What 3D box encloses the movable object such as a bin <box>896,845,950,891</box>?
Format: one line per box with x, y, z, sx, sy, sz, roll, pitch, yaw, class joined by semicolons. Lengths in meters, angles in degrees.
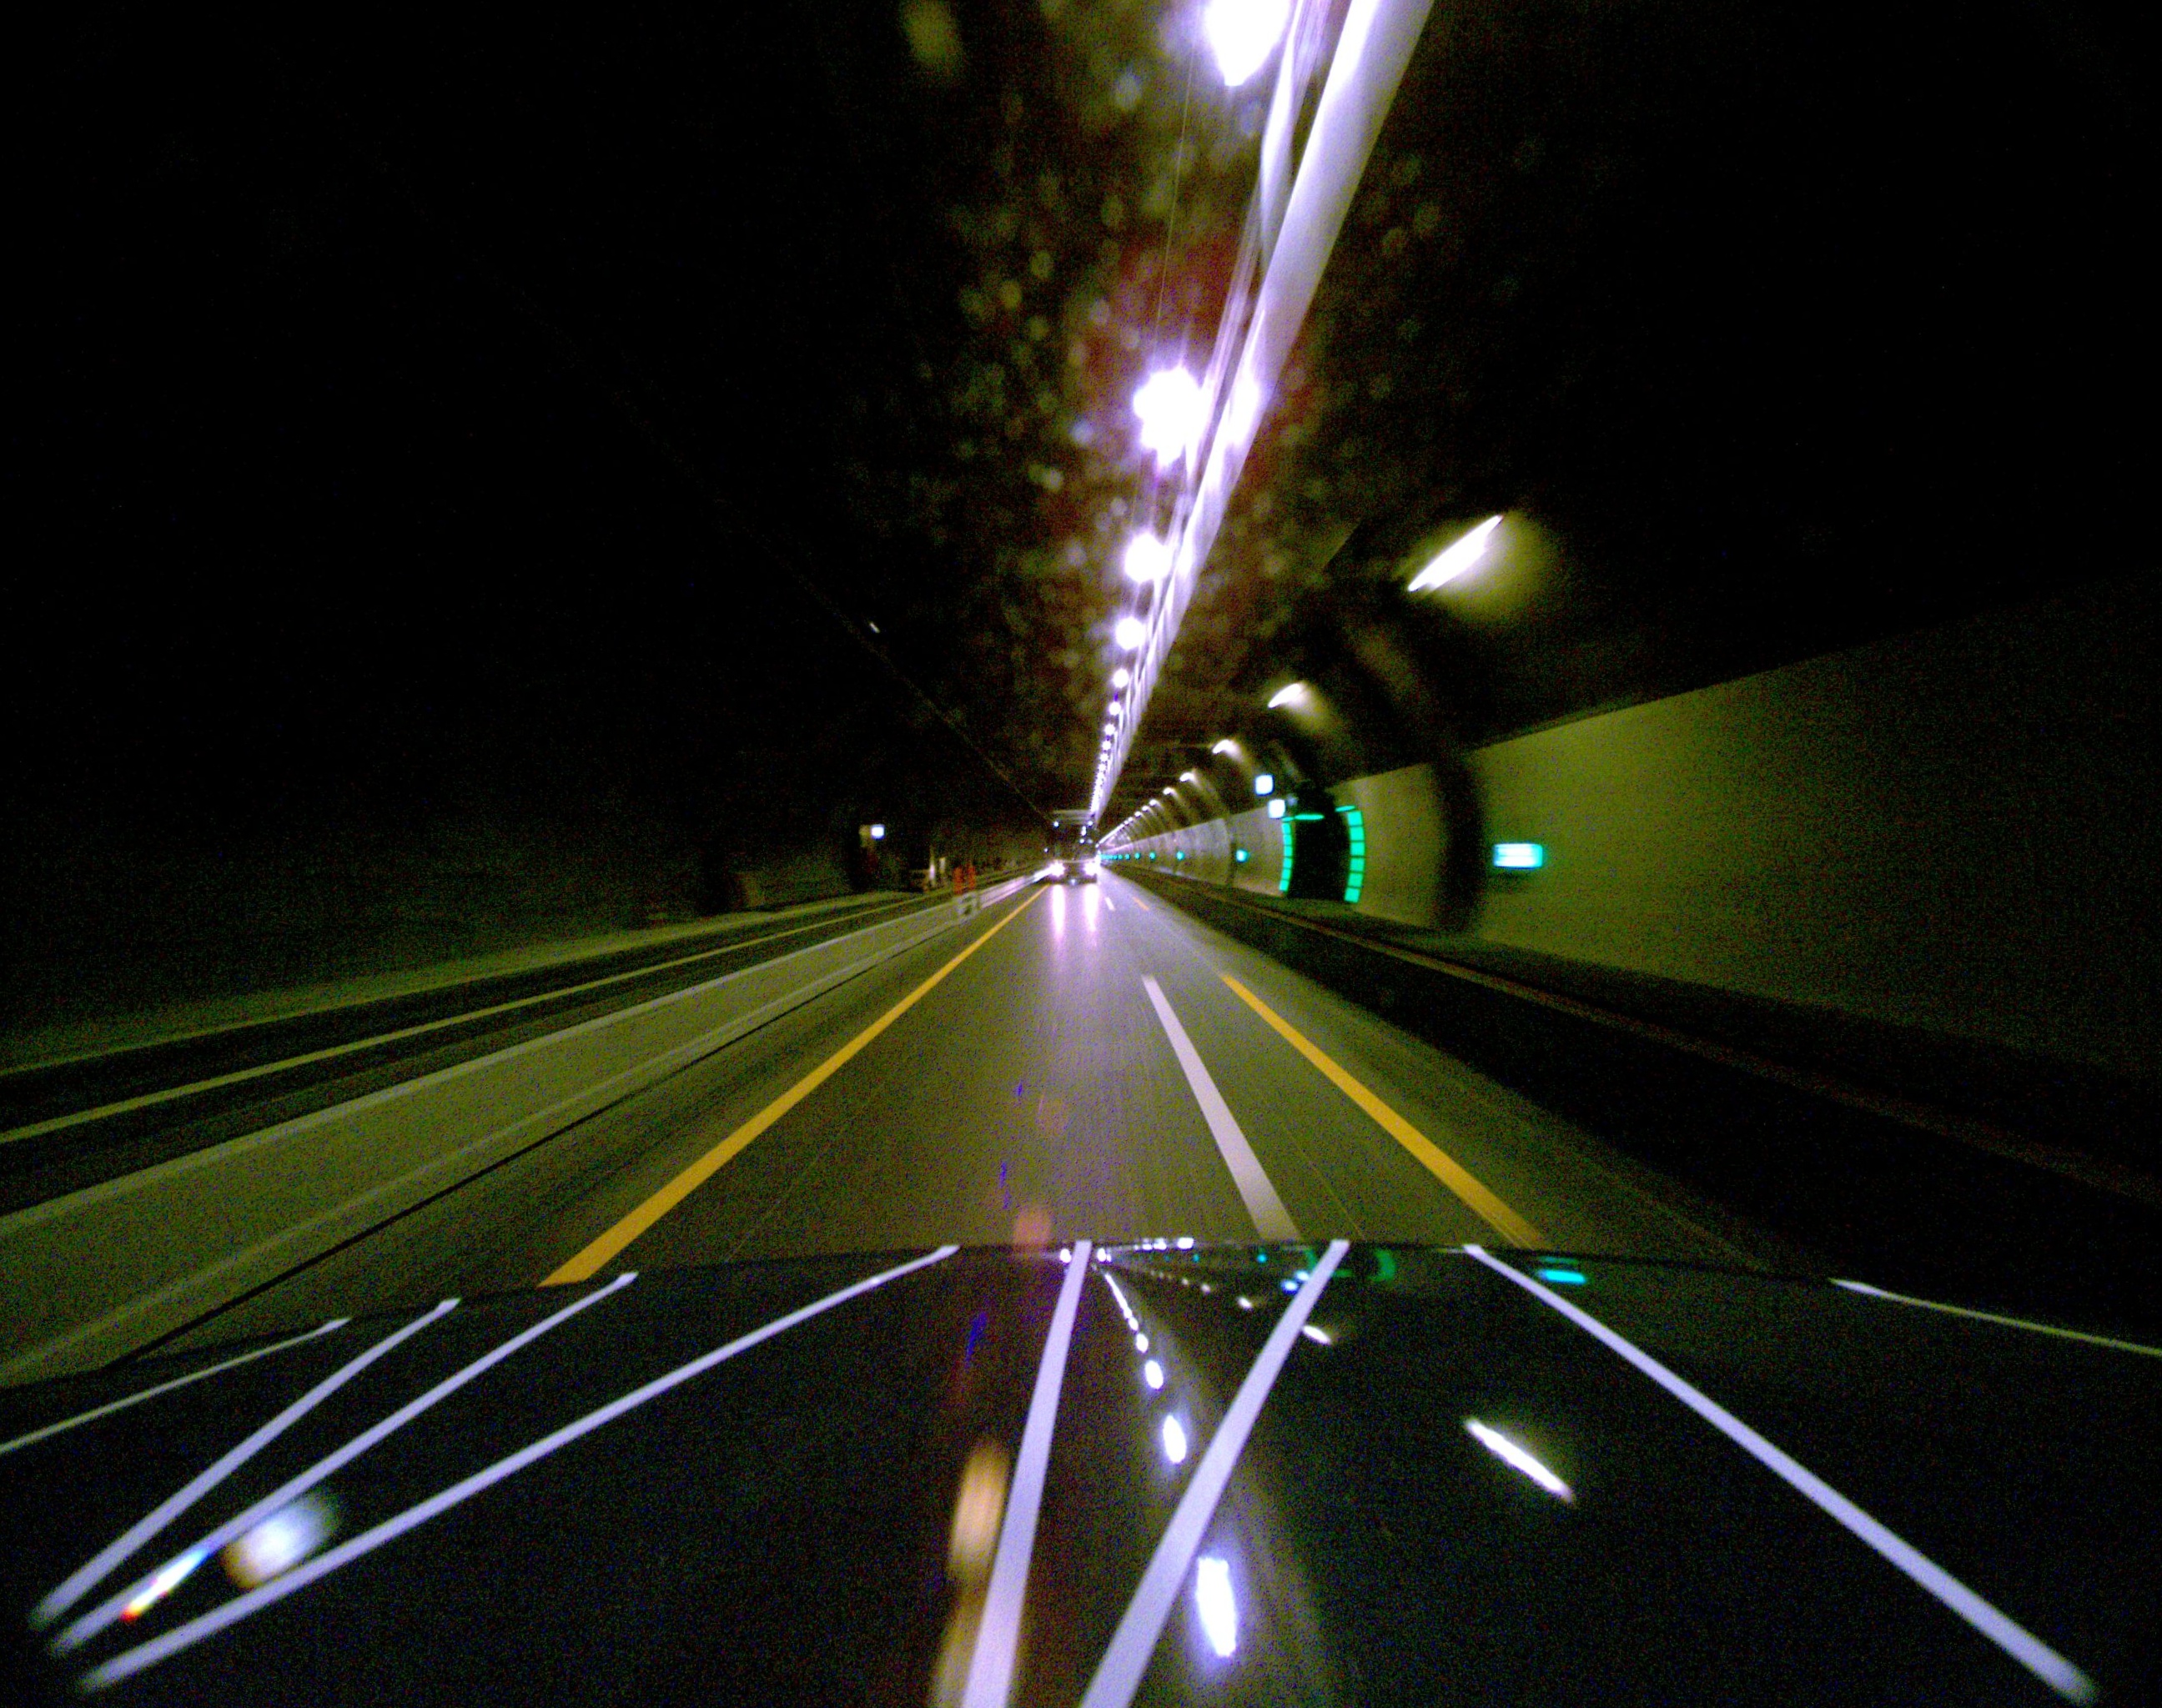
-7.832;0.638;38.078;1.688;2.133;4.627;-2;1;0;movable object such as a bin

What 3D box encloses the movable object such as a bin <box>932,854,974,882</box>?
-8.275;0.879;49.551;1.865;1.665;4.501;2;0;0;movable object such as a bin

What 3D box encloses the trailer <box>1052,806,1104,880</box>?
-0.130;-0.709;49.798;2.939;4.316;10.051;-1;1;1;trailer

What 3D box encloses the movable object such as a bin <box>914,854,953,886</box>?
-8.478;0.891;43.873;1.560;1.699;3.054;-2;1;0;movable object such as a bin

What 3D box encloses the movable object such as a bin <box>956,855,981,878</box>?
-8.269;0.887;55.817;1.306;1.584;3.055;2;0;0;movable object such as a bin

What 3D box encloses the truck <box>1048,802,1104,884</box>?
-0.205;-0.624;44.465;2.950;4.338;6.675;-1;1;1;truck
